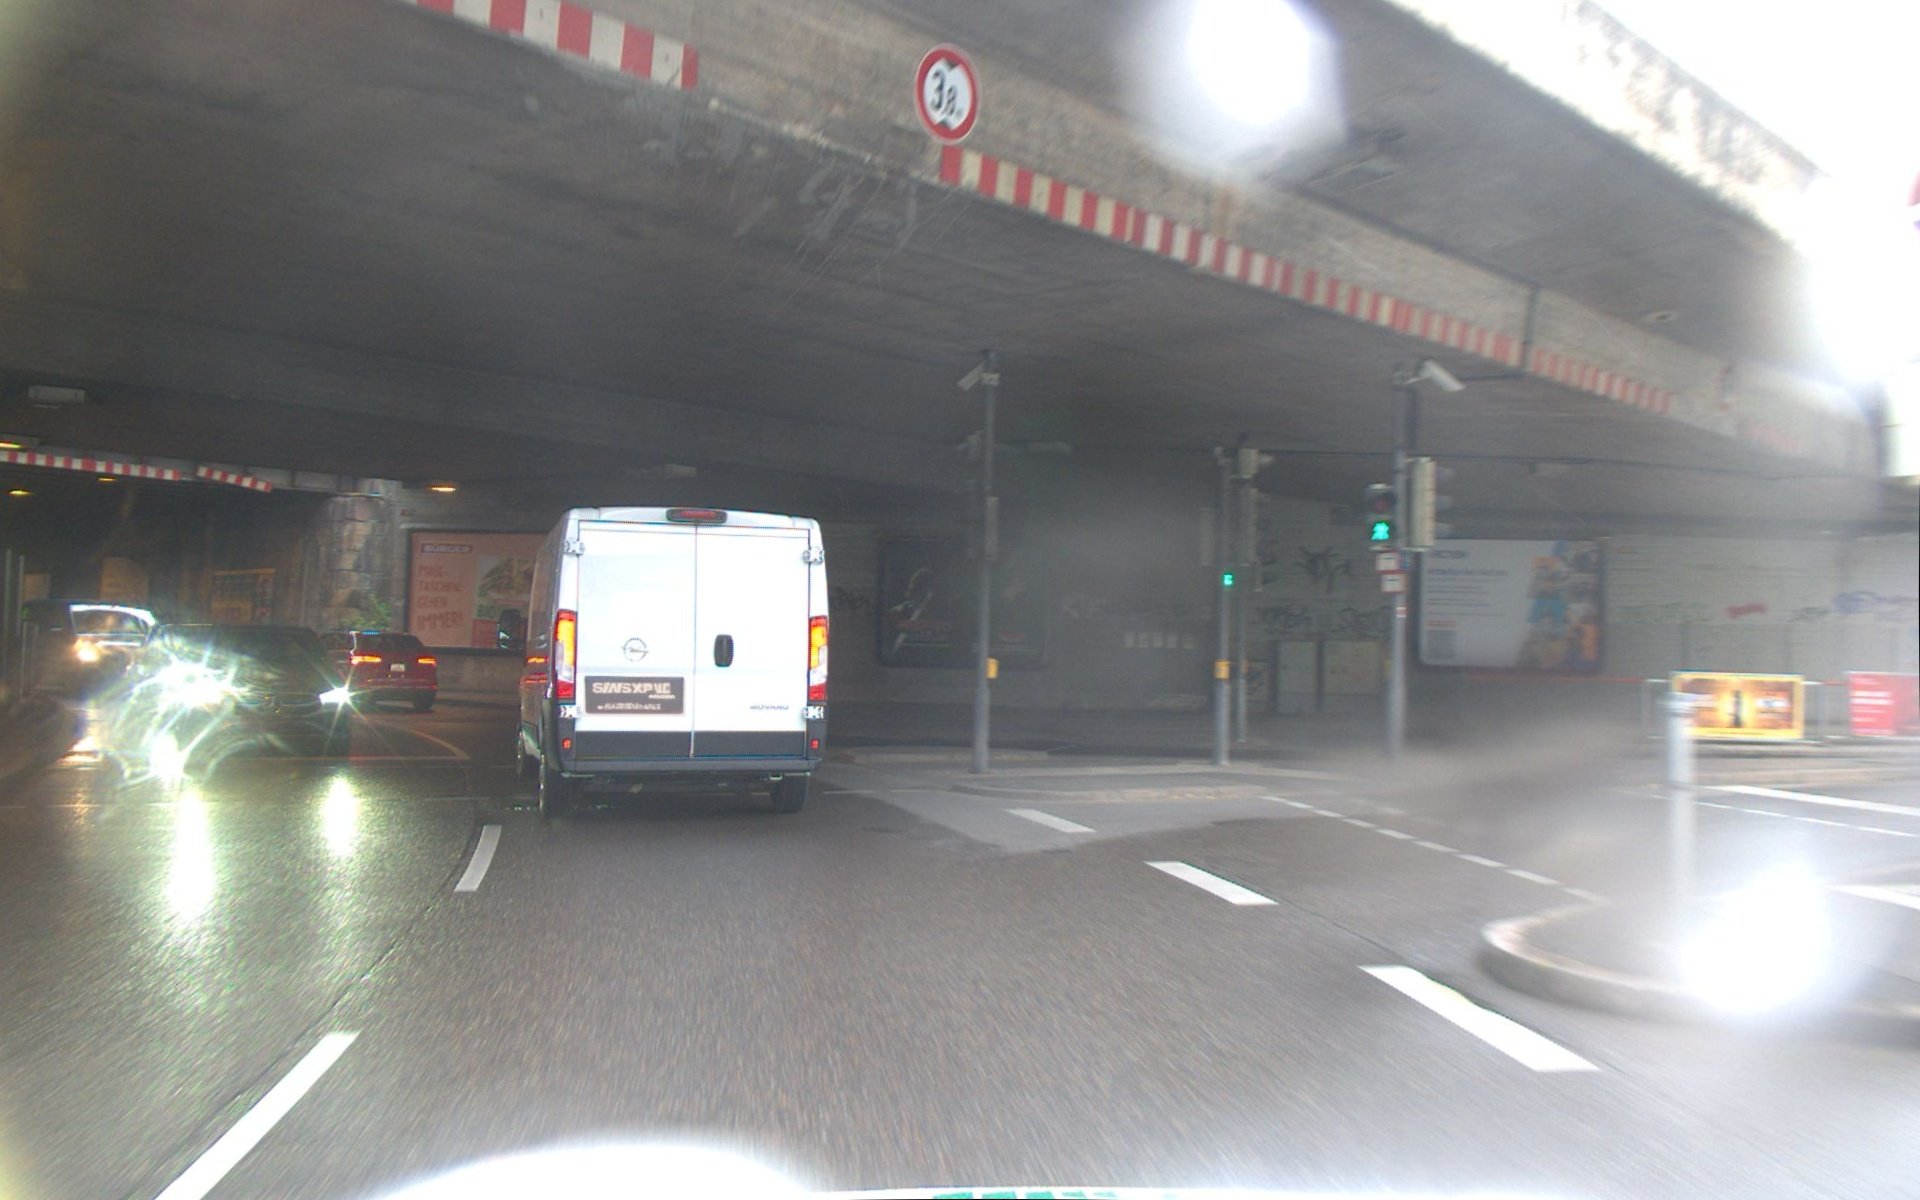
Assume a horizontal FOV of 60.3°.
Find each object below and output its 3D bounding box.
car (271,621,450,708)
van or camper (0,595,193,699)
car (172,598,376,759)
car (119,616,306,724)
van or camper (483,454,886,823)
[{"bbox_3d":[-11.118,1.152,30.536,1.825,1.464,4.043,3,-2,-40],"label":"car"},{"bbox_3d":[-17.108,0.908,32.559,5.053,1.901,1.986,-1,-2,45],"label":"van or camper"},{"bbox_3d":[-8.251,0.850,19.667,1.969,1.556,4.464,2,1,-26],"label":"car"},{"bbox_3d":[-11.324,1.018,24.912,1.975,1.490,4.058,2,-2,-33],"label":"car"},{"bbox_3d":[-2.526,0.324,13.779,2.656,2.459,4.879,2,-1,-17],"label":"van or camper"}]
